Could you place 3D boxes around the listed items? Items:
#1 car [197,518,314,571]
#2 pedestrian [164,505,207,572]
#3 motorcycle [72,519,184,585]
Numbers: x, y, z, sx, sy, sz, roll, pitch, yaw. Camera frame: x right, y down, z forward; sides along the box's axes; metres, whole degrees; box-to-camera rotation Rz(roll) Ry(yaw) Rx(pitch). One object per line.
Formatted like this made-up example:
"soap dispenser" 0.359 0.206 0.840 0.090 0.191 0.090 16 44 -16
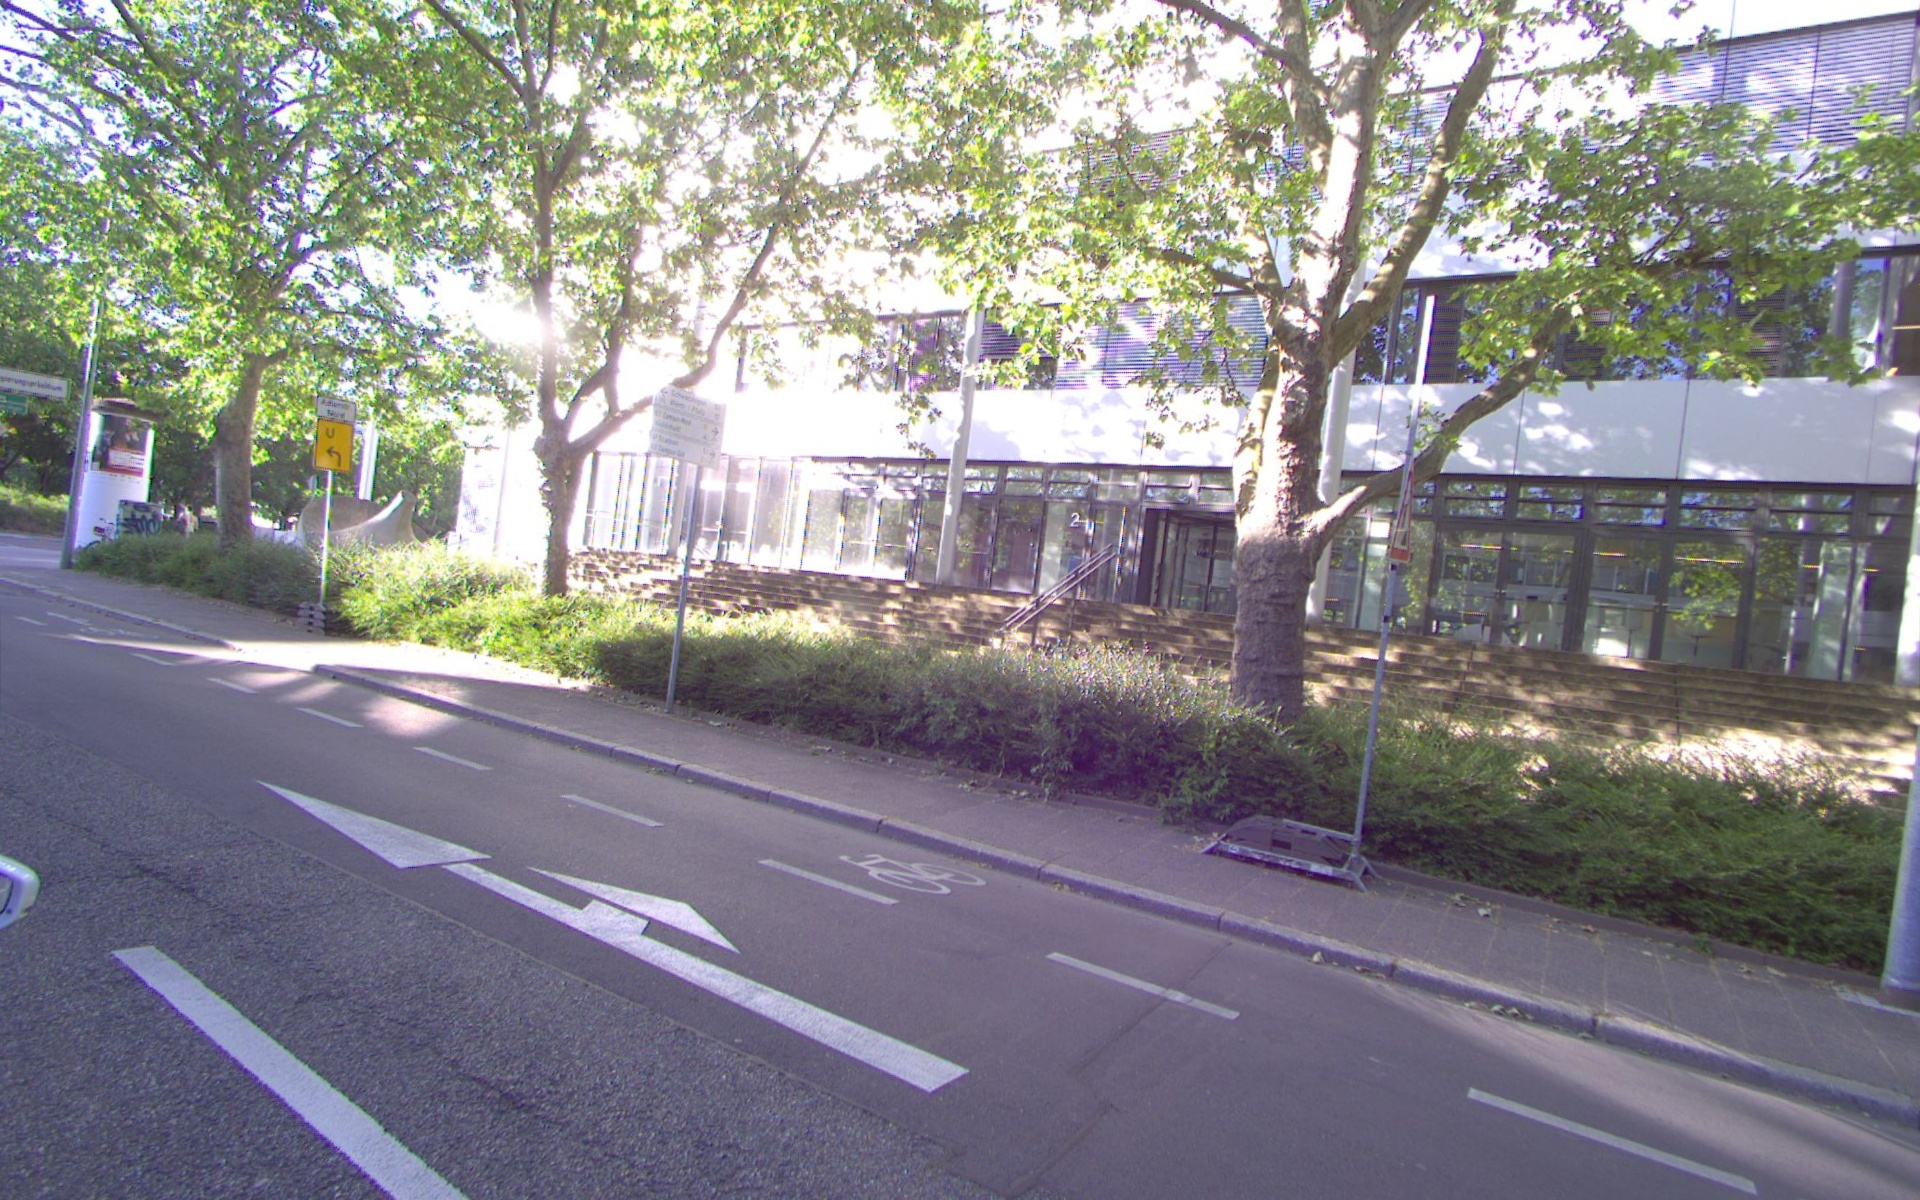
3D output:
"car" -32.713 -2.561 46.829 1.708 1.792 3.996 7 -1 30
"pedestrian" -22.768 -1.803 29.567 0.656 1.849 0.648 7 0 31
"motorcycle" -19.239 -1.094 23.287 0.712 1.257 1.782 6 -2 37
